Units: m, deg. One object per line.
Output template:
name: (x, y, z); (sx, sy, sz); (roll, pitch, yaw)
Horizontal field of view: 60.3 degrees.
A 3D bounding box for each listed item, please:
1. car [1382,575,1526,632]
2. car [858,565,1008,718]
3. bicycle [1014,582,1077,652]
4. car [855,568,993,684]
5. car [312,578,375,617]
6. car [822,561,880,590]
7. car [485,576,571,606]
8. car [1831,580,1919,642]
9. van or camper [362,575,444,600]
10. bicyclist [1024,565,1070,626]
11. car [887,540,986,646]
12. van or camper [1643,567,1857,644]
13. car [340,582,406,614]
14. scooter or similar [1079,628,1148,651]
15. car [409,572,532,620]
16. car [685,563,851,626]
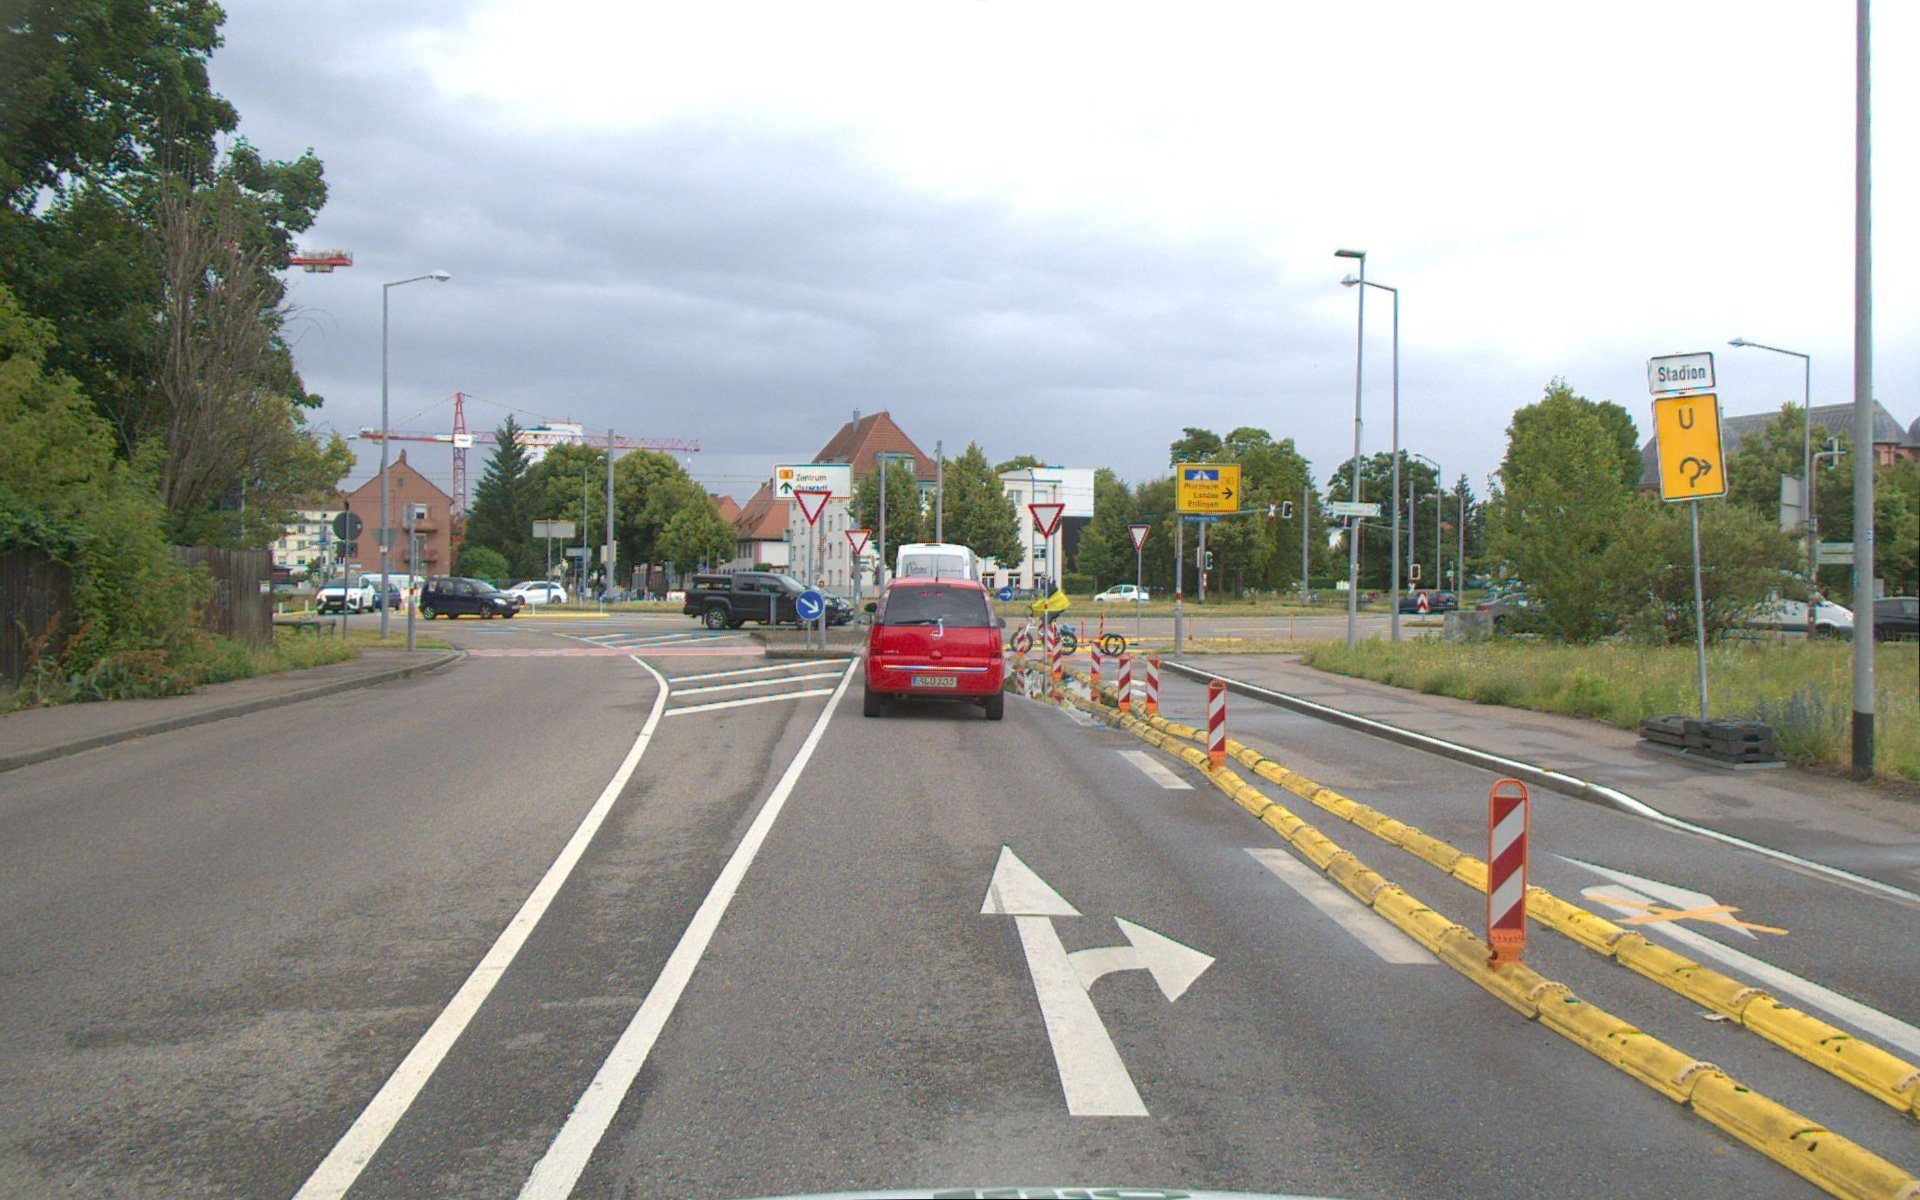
car: (15.814, 0.102, 53.167); (4.267, 1.780, 2.002); (0, 0, 11)
car: (-0.351, 0.450, 20.357); (1.639, 1.669, 3.626); (1, 0, -2)
bicycle: (2.010, 0.397, 38.836); (1.447, 1.640, 0.606); (0, 0, 0)
car: (-0.605, 0.374, 26.941); (2.018, 1.676, 4.606); (1, 0, -2)
car: (-27.896, -0.142, 74.926); (1.895, 1.713, 4.180); (0, 0, -9)
car: (-8.004, -1.787, 121.357); (3.902, 1.881, 2.001); (-3, -3, 7)
car: (-24.733, -0.535, 94.770); (1.959, 1.663, 4.659); (0, 1, 35)
car: (28.439, 0.311, 49.110); (4.508, 1.826, 2.111); (0, 0, 30)
van or camper: (-45.475, -1.019, 135.057); (6.045, 2.049, 2.002); (0, 0, 9)
bicyclist: (2.042, -0.111, 38.826); (1.040, 1.426, 0.615); (0, 0, 0)
car: (-0.558, -0.187, 43.848); (2.149, 2.584, 4.965); (1, 0, 4)
van or camper: (22.848, 0.121, 48.100); (5.419, 2.152, 2.001); (0, 0, 19)
car: (-28.922, -0.108, 81.580); (1.892, 1.515, 3.999); (0, 0, -1)
scooter or similar: (3.591, 0.925, 38.809); (1.574, 0.513, 0.925); (0, 0, 1)
car: (-19.206, -0.158, 64.991); (4.105, 1.845, 2.080); (0, 0, 9)
car: (-6.209, -0.197, 53.741); (4.918, 2.006, 2.226); (0, 0, 10)
